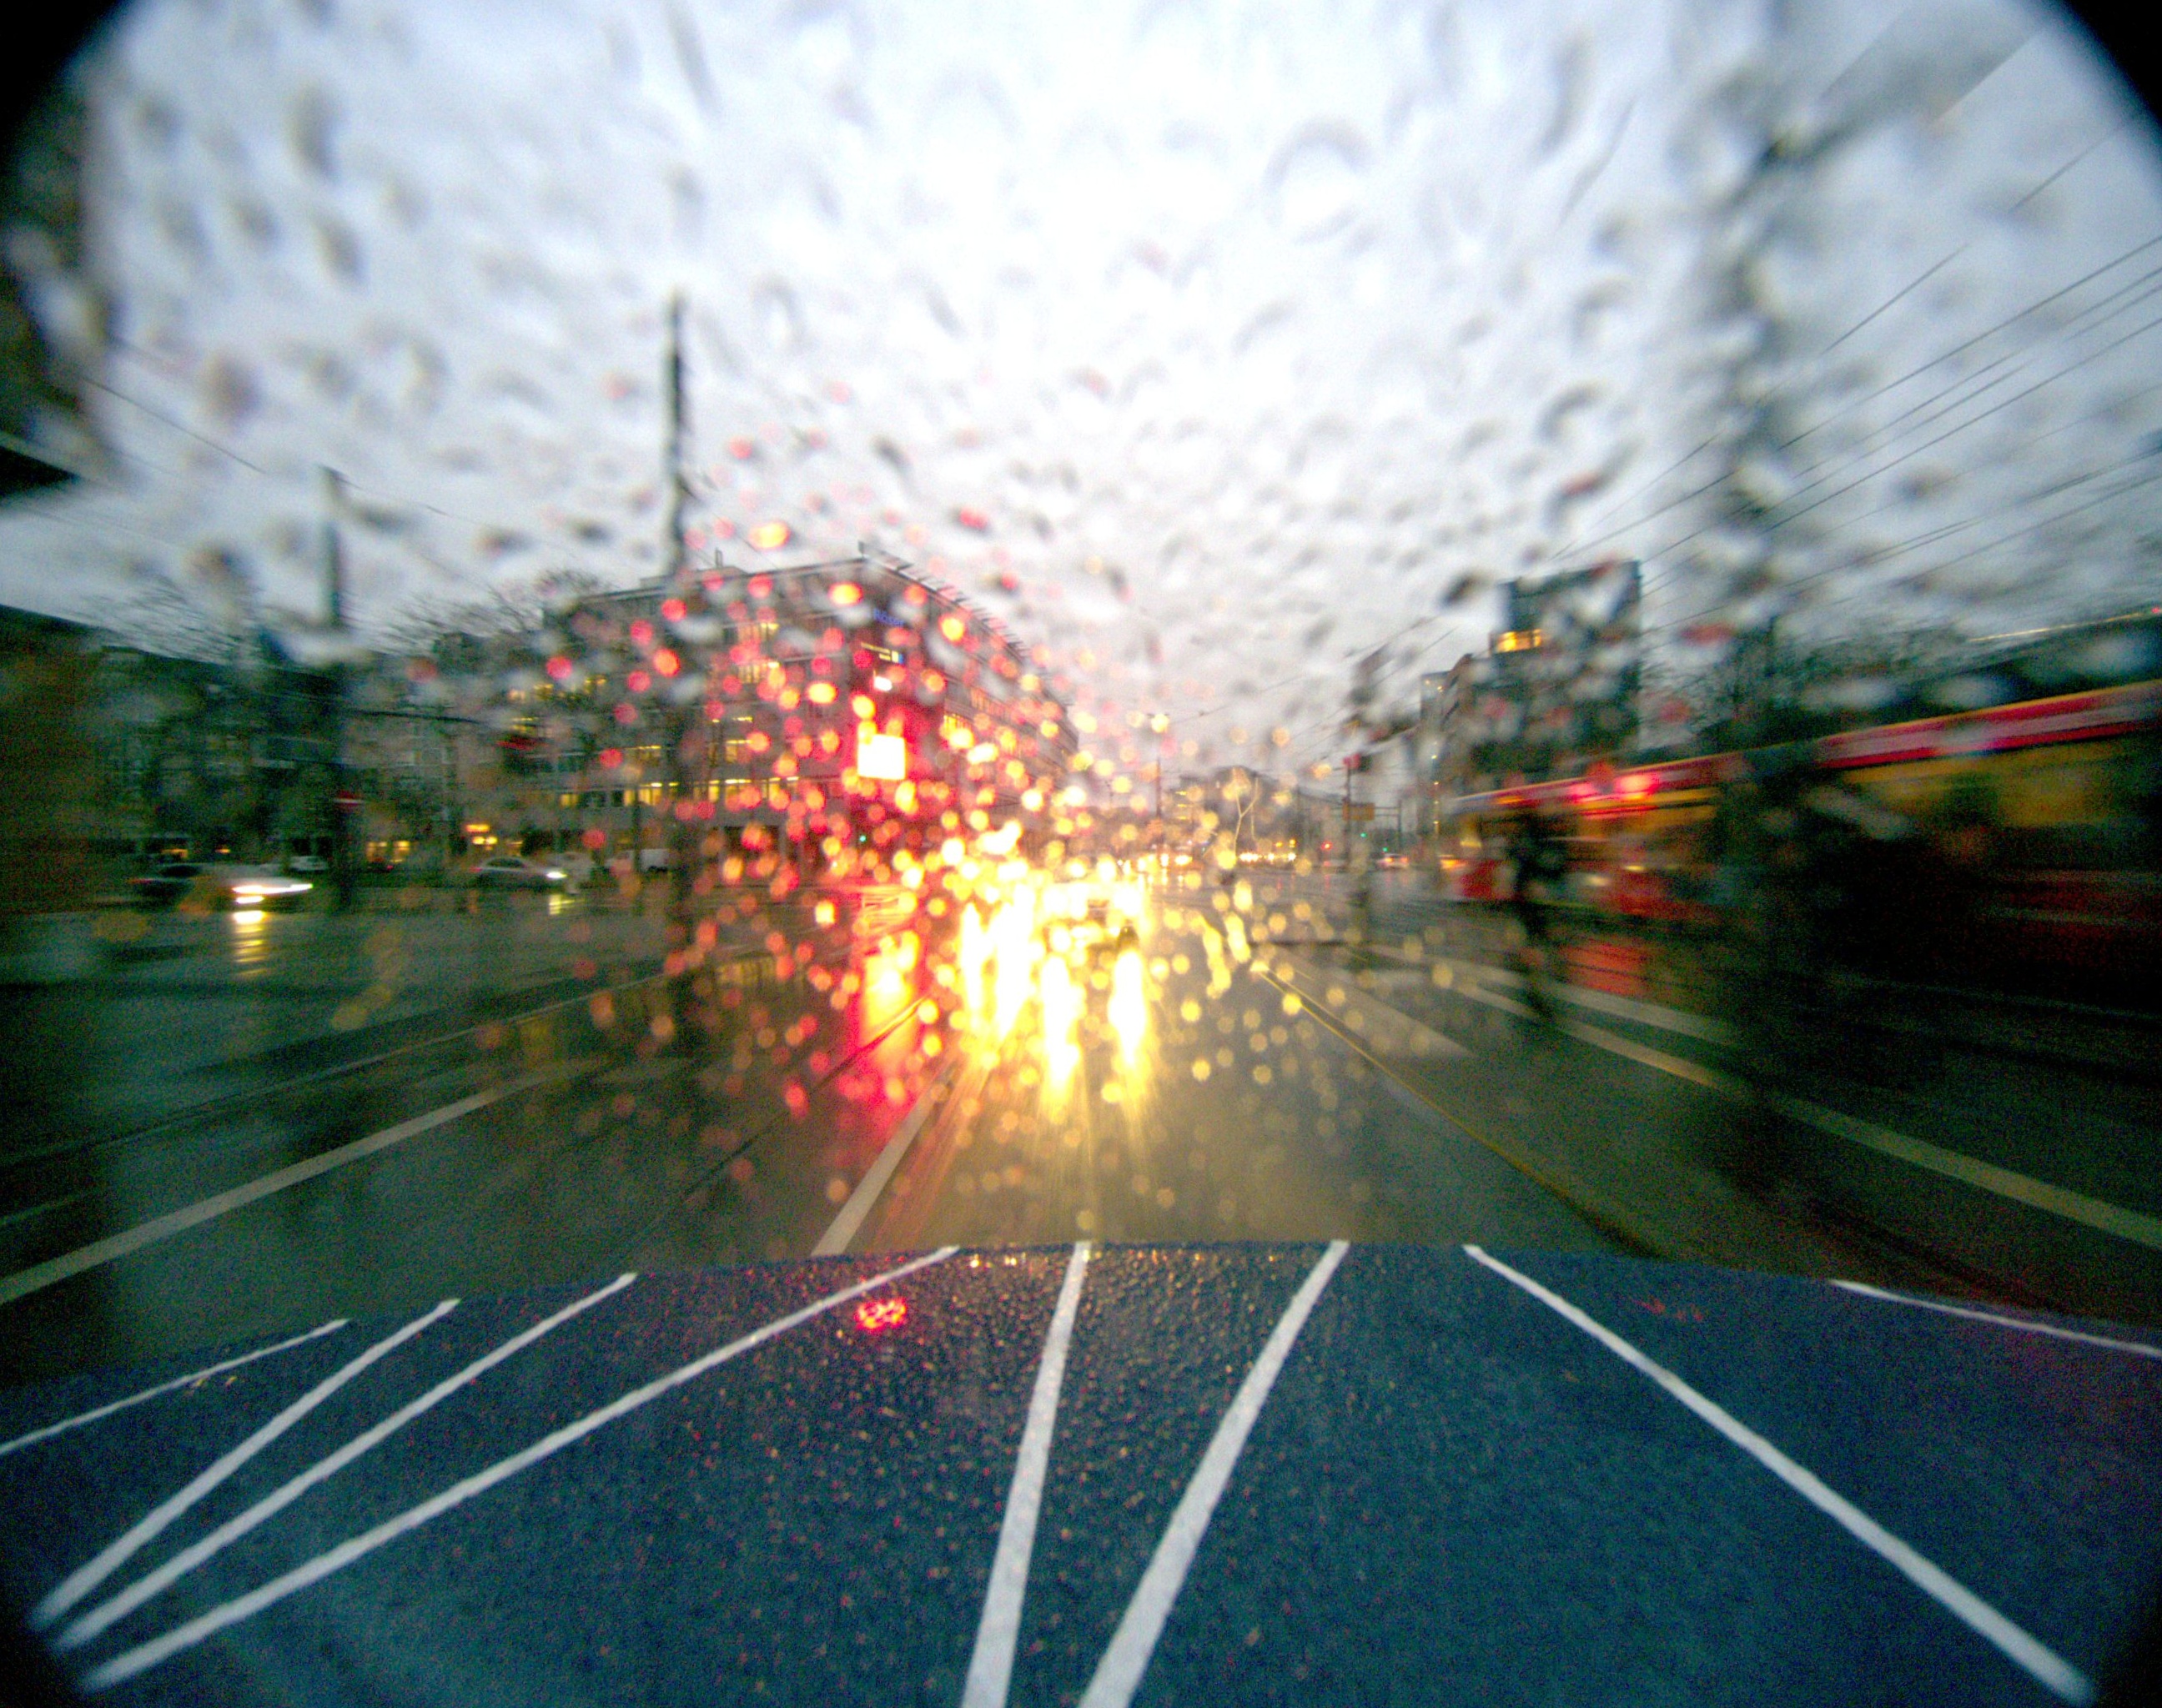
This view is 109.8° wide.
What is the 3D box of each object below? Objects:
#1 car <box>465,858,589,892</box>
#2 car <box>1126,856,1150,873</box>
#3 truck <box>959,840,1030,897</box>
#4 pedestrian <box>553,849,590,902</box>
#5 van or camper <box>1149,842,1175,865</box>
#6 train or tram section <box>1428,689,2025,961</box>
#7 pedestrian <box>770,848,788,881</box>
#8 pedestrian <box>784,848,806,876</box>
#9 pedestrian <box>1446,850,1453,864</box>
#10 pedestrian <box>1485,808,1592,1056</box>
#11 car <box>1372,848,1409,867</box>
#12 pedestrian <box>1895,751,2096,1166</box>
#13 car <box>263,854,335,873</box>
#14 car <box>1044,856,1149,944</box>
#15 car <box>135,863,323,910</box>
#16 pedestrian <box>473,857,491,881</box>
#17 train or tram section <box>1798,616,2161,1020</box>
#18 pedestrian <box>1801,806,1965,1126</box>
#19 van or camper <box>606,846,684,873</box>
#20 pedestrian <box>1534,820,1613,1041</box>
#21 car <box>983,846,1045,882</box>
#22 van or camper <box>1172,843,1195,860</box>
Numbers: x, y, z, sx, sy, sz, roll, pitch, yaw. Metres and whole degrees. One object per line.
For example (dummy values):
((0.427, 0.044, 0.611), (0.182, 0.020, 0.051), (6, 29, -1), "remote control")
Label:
((-23.276, 0.862, 32.014), (3.989, 1.333, 1.815), (0, 1, 6), "car")
((5.506, 0.973, 72.950), (1.682, 1.563, 3.764), (0, 0, 14), "car")
((-3.166, 0.499, 28.626), (1.909, 1.906, 4.617), (-2, 0, 2), "truck")
((-17.117, 0.714, 25.529), (0.735, 1.777, 0.735), (0, 1, 0), "pedestrian")
((9.352, -0.123, 87.495), (2.059, 2.533, 5.891), (-2, 0, 15), "van or camper")
((11.500, -0.413, 16.378), (2.957, 3.568, 12.257), (-2, 0, 3), "train or tram section")
((-16.663, 0.565, 41.866), (0.801, 1.800, 0.649), (-1, 1, -31), "pedestrian")
((-18.084, 0.489, 48.086), (1.152, 1.777, 0.777), (0, 1, -7), "pedestrian")
((35.327, 0.272, 72.847), (0.445, 1.257, 0.496), (-2, 1, 9), "pedestrian")
((3.578, 0.577, 5.975), (0.413, 1.835, 0.669), (-1, 1, -2), "pedestrian")
((25.915, 0.256, 63.761), (1.672, 1.486, 4.202), (0, 0, 4), "car")
((4.568, 0.492, 3.823), (0.434, 1.956, 0.473), (-1, 1, -2), "pedestrian")
((-60.249, 0.729, 58.574), (3.994, 1.425, 1.843), (0, 1, 8), "car")
((0.354, 0.804, 15.276), (1.773, 1.449, 4.222), (-2, 0, 2), "car")
((-26.144, 0.976, 23.392), (3.989, 1.302, 1.815), (0, 1, 5), "car")
((-33.682, 0.838, 42.739), (0.606, 1.356, 0.479), (0, 1, 11), "pedestrian")
((10.863, -0.342, 4.663), (2.931, 3.557, 11.036), (-2, 0, 3), "train or tram section")
((4.561, 0.607, 4.343), (0.434, 1.725, 0.473), (-1, 1, -2), "pedestrian")
((-32.298, 0.376, 56.390), (4.742, 1.918, 1.842), (-1, 1, 4), "van or camper")
((4.096, 0.615, 6.338), (0.360, 1.776, 0.440), (-1, 1, -2), "pedestrian")
((-3.537, 0.512, 41.093), (1.907, 1.808, 4.693), (-2, 0, 13), "car")
((14.450, -0.380, 106.536), (2.183, 2.338, 5.657), (-2, 0, 17), "van or camper")
